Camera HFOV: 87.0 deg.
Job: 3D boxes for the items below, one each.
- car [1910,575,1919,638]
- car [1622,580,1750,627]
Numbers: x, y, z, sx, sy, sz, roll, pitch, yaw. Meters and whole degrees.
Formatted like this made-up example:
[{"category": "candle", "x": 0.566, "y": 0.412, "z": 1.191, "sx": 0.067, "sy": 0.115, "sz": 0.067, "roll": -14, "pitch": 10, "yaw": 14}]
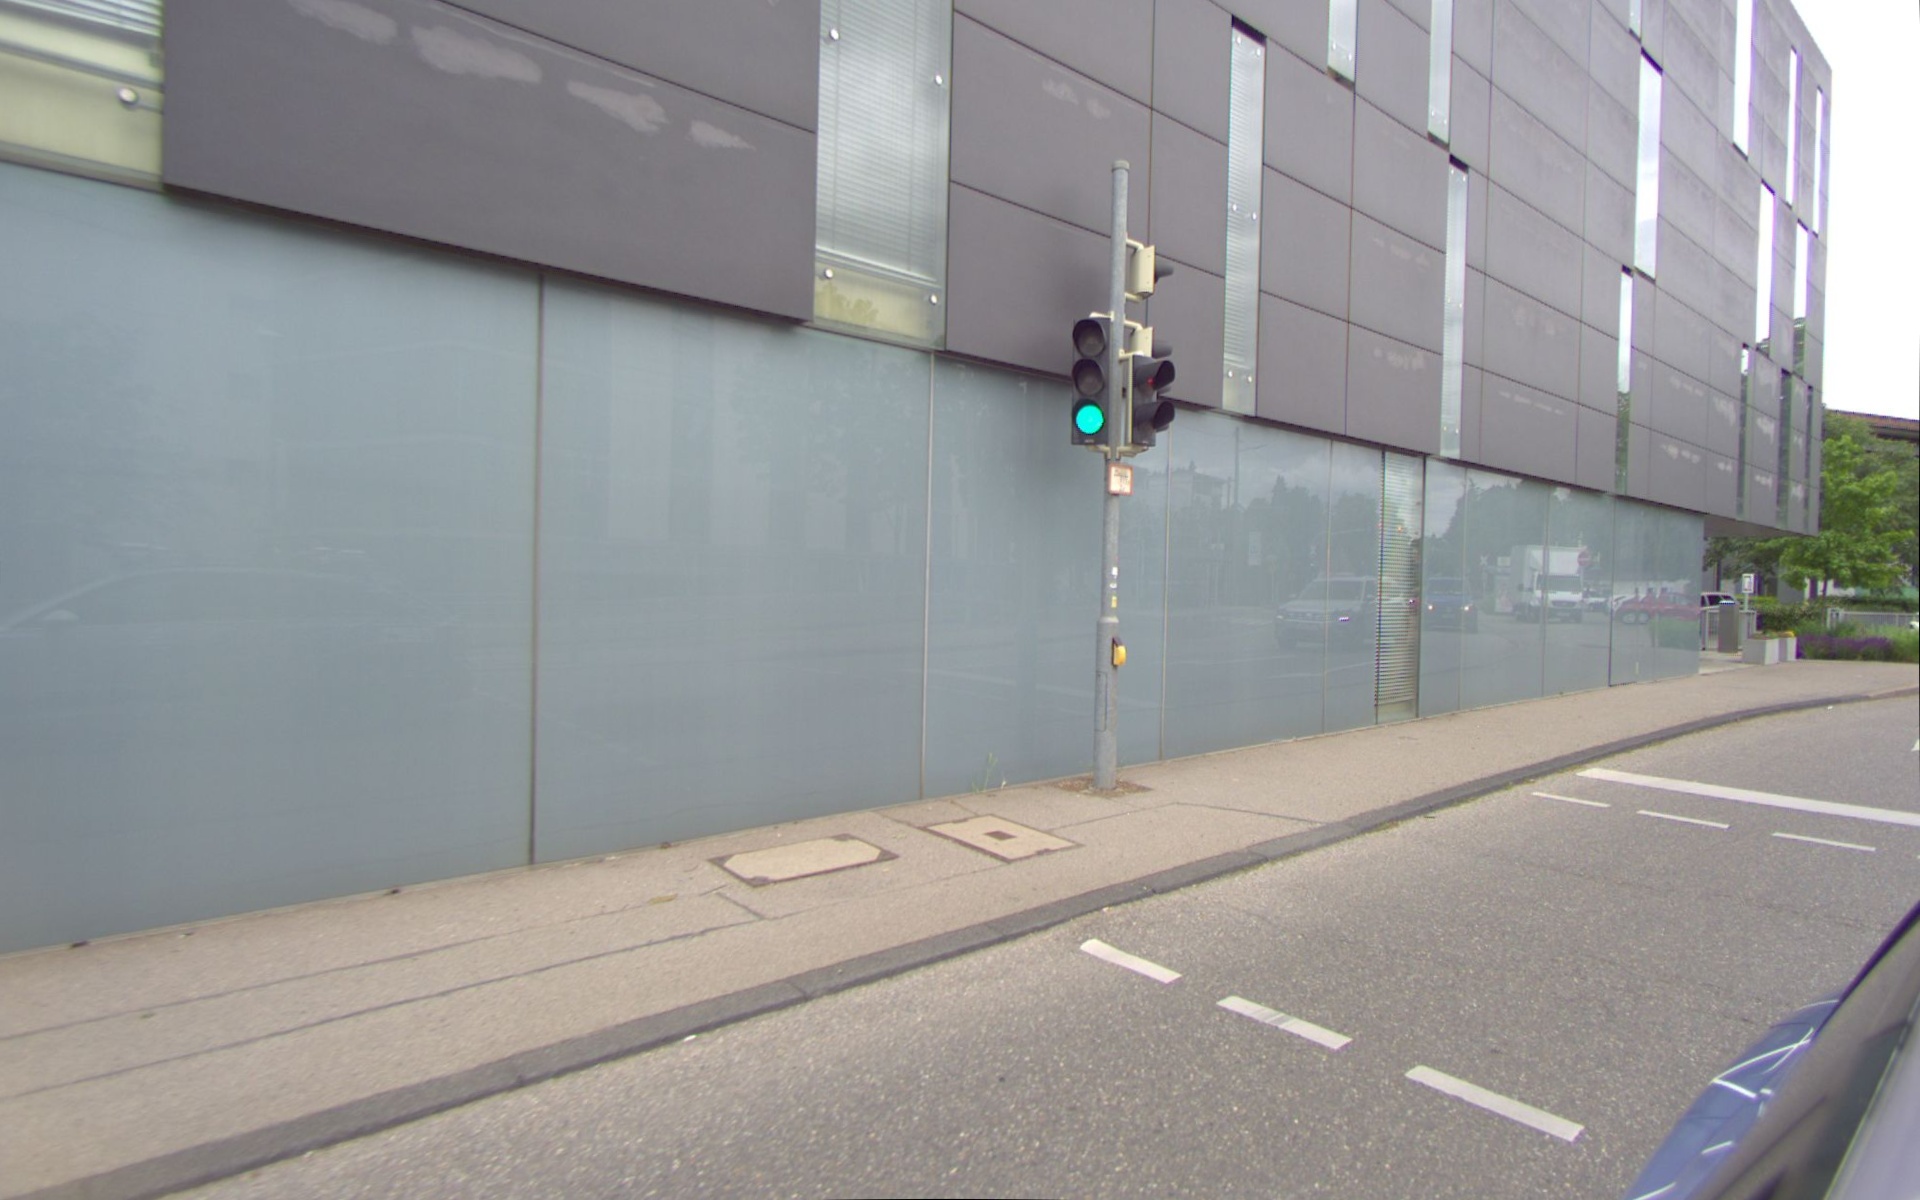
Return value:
[{"category": "car", "x": 29.776, "y": 0.288, "z": 28.702, "sx": 4.622, "sy": 1.779, "sz": 1.863, "roll": 2, "pitch": 2, "yaw": -15}, {"category": "car", "x": 25.510, "y": 0.099, "z": 35.566, "sx": 4.129, "sy": 1.501, "sz": 1.625, "roll": 0, "pitch": 3, "yaw": -21}]
